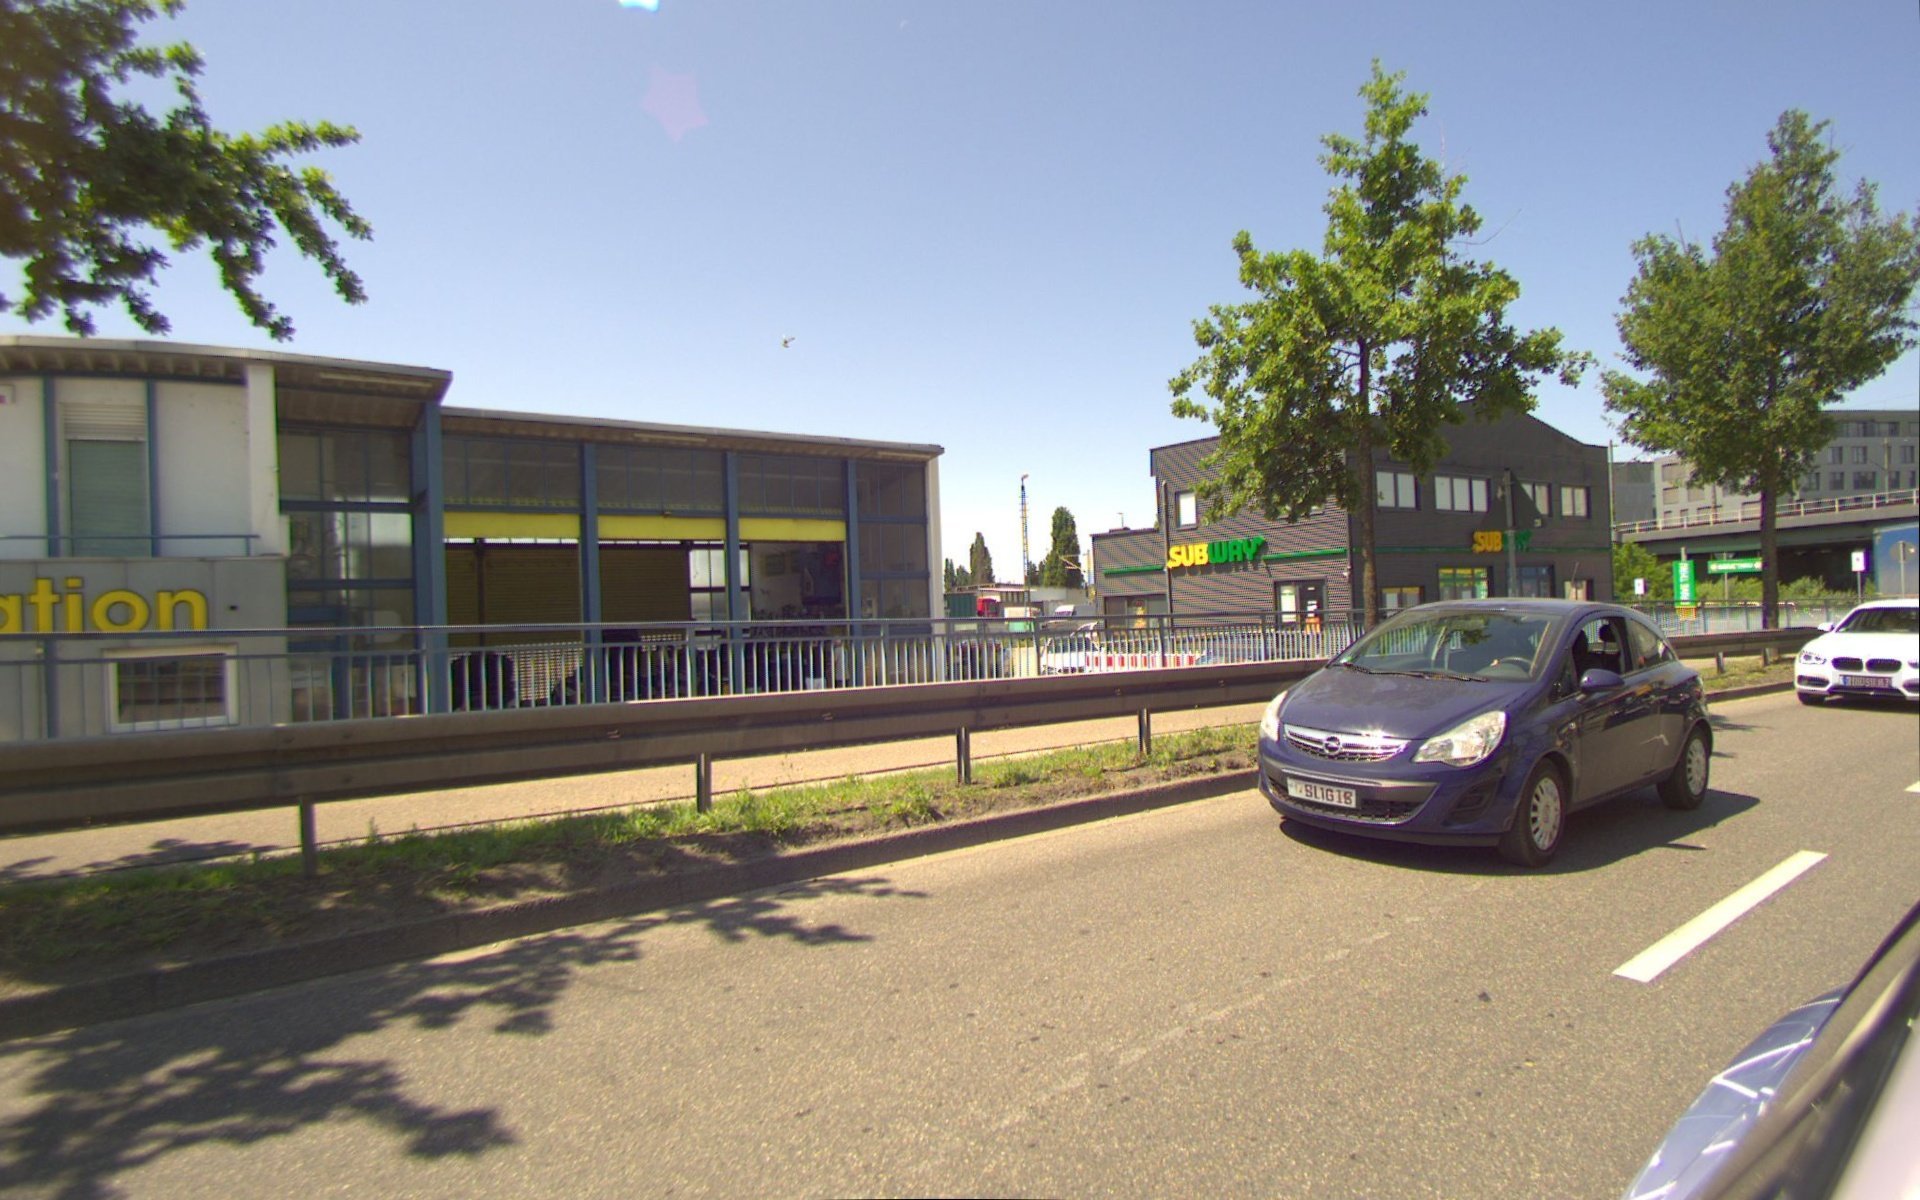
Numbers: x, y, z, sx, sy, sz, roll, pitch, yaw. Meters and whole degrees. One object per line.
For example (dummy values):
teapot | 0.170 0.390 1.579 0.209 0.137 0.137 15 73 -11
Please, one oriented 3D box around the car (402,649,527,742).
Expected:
car | -10.986 2.009 22.321 1.621 1.705 3.674 -2 0 -40

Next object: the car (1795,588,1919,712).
car | 13.371 0.606 13.979 3.975 1.461 1.765 -1 2 -34

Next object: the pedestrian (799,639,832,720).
pedestrian | -3.185 1.726 22.274 0.479 1.724 0.523 -1 0 -35

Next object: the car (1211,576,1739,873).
car | 3.591 0.603 6.810 3.819 1.462 1.650 -1 0 -37

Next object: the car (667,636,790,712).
car | -6.036 1.832 26.142 1.621 1.705 3.675 -2 0 -39

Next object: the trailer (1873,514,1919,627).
trailer | 35.262 -1.142 32.408 2.463 4.142 13.845 -2 -1 14

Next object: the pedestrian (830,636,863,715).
pedestrian | -2.556 1.679 22.768 0.578 1.724 0.427 -1 0 -36

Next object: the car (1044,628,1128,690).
car | 3.417 1.578 28.364 1.964 1.375 5.078 -2 0 3
